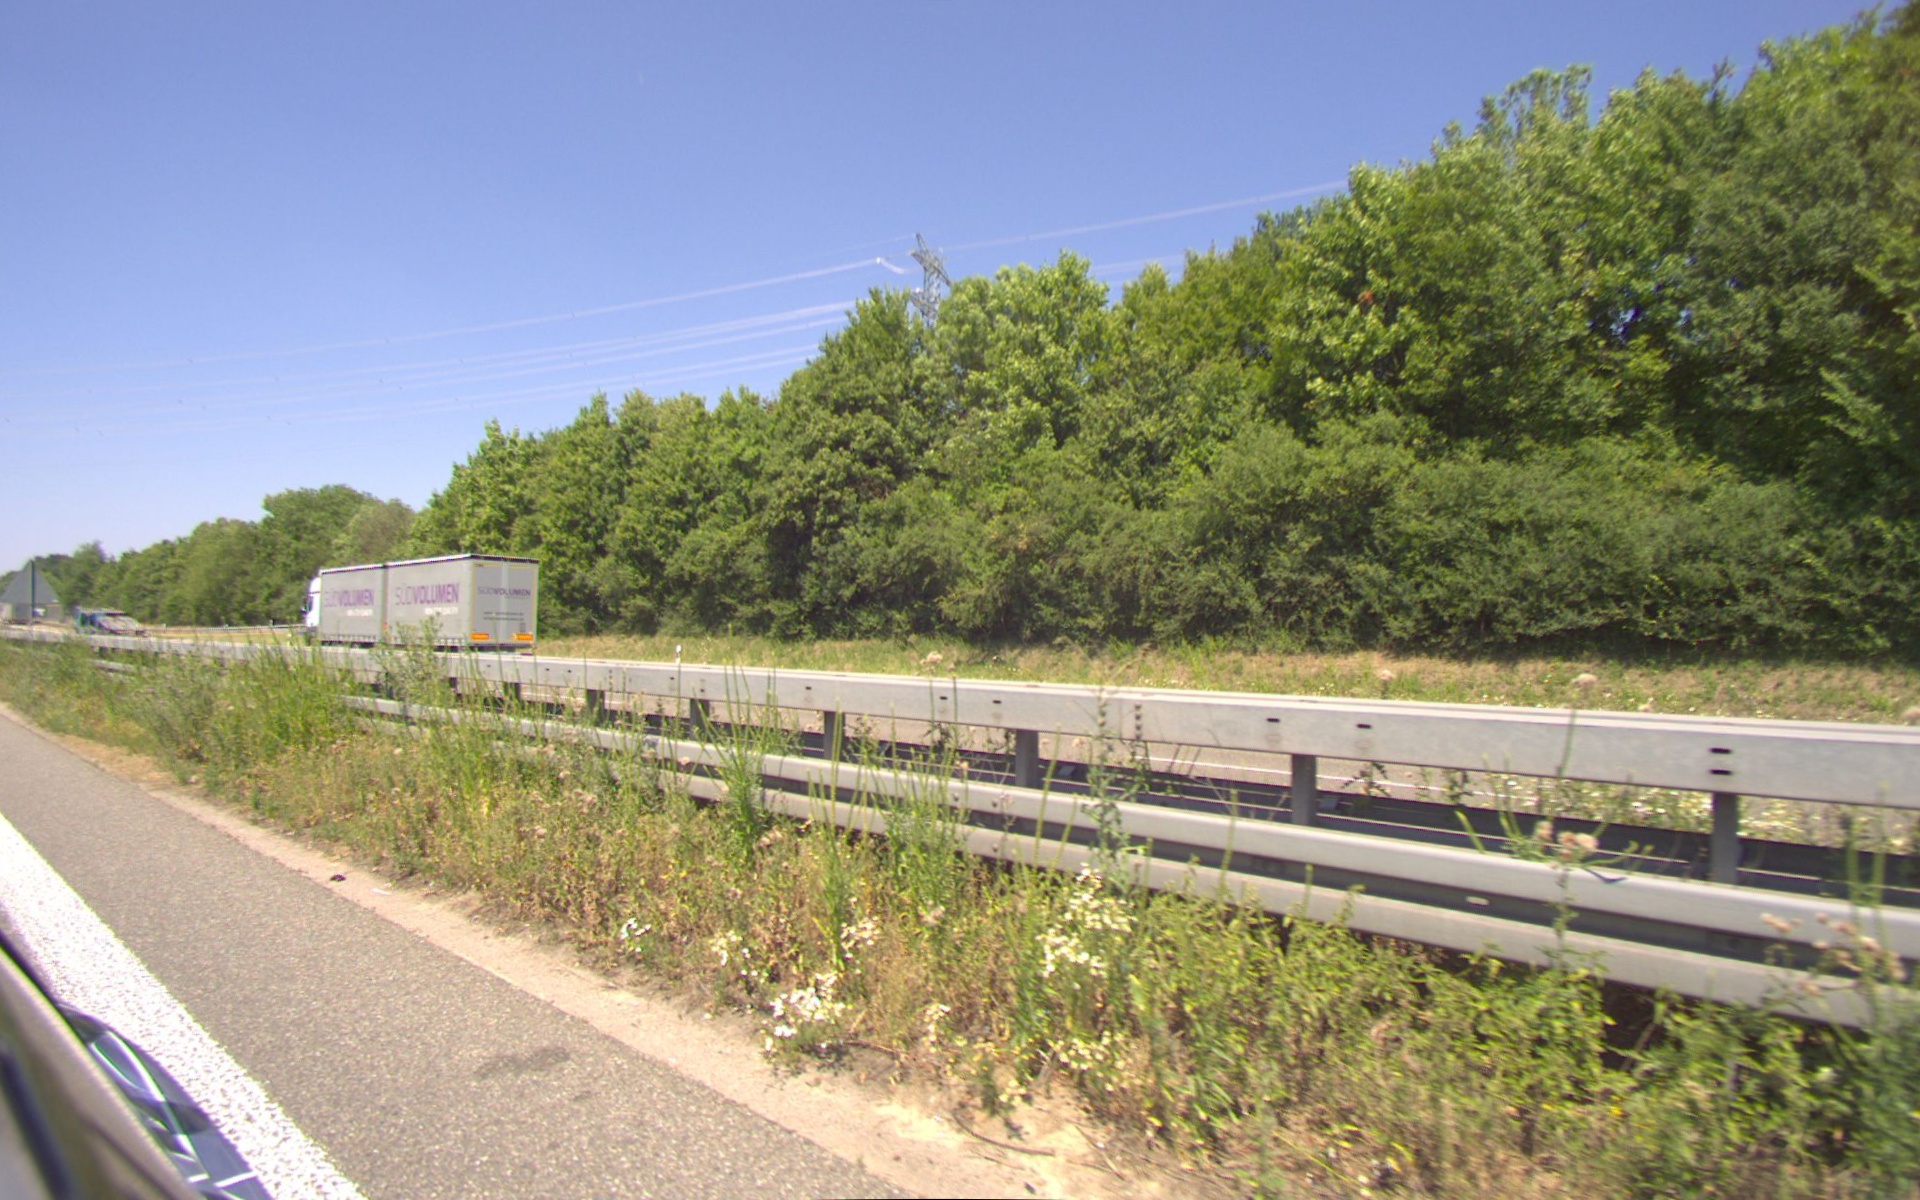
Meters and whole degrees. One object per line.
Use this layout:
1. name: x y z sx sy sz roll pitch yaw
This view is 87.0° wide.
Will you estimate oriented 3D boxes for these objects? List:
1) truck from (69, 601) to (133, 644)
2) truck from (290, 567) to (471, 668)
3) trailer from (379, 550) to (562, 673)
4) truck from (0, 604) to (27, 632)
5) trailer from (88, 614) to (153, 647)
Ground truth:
1. truck: -79.246 2.062 93.230 10.785 3.831 2.964 -1 -2 42
2. truck: -26.135 0.830 45.308 11.115 4.025 3.418 -1 -2 40
3. trailer: -19.022 0.419 39.113 7.964 4.312 3.418 -1 0 40
4. truck: -174.232 3.357 184.272 14.506 4.374 2.971 -3 -3 34
5. trailer: -71.986 2.528 86.713 8.530 2.659 3.112 -1 0 43
